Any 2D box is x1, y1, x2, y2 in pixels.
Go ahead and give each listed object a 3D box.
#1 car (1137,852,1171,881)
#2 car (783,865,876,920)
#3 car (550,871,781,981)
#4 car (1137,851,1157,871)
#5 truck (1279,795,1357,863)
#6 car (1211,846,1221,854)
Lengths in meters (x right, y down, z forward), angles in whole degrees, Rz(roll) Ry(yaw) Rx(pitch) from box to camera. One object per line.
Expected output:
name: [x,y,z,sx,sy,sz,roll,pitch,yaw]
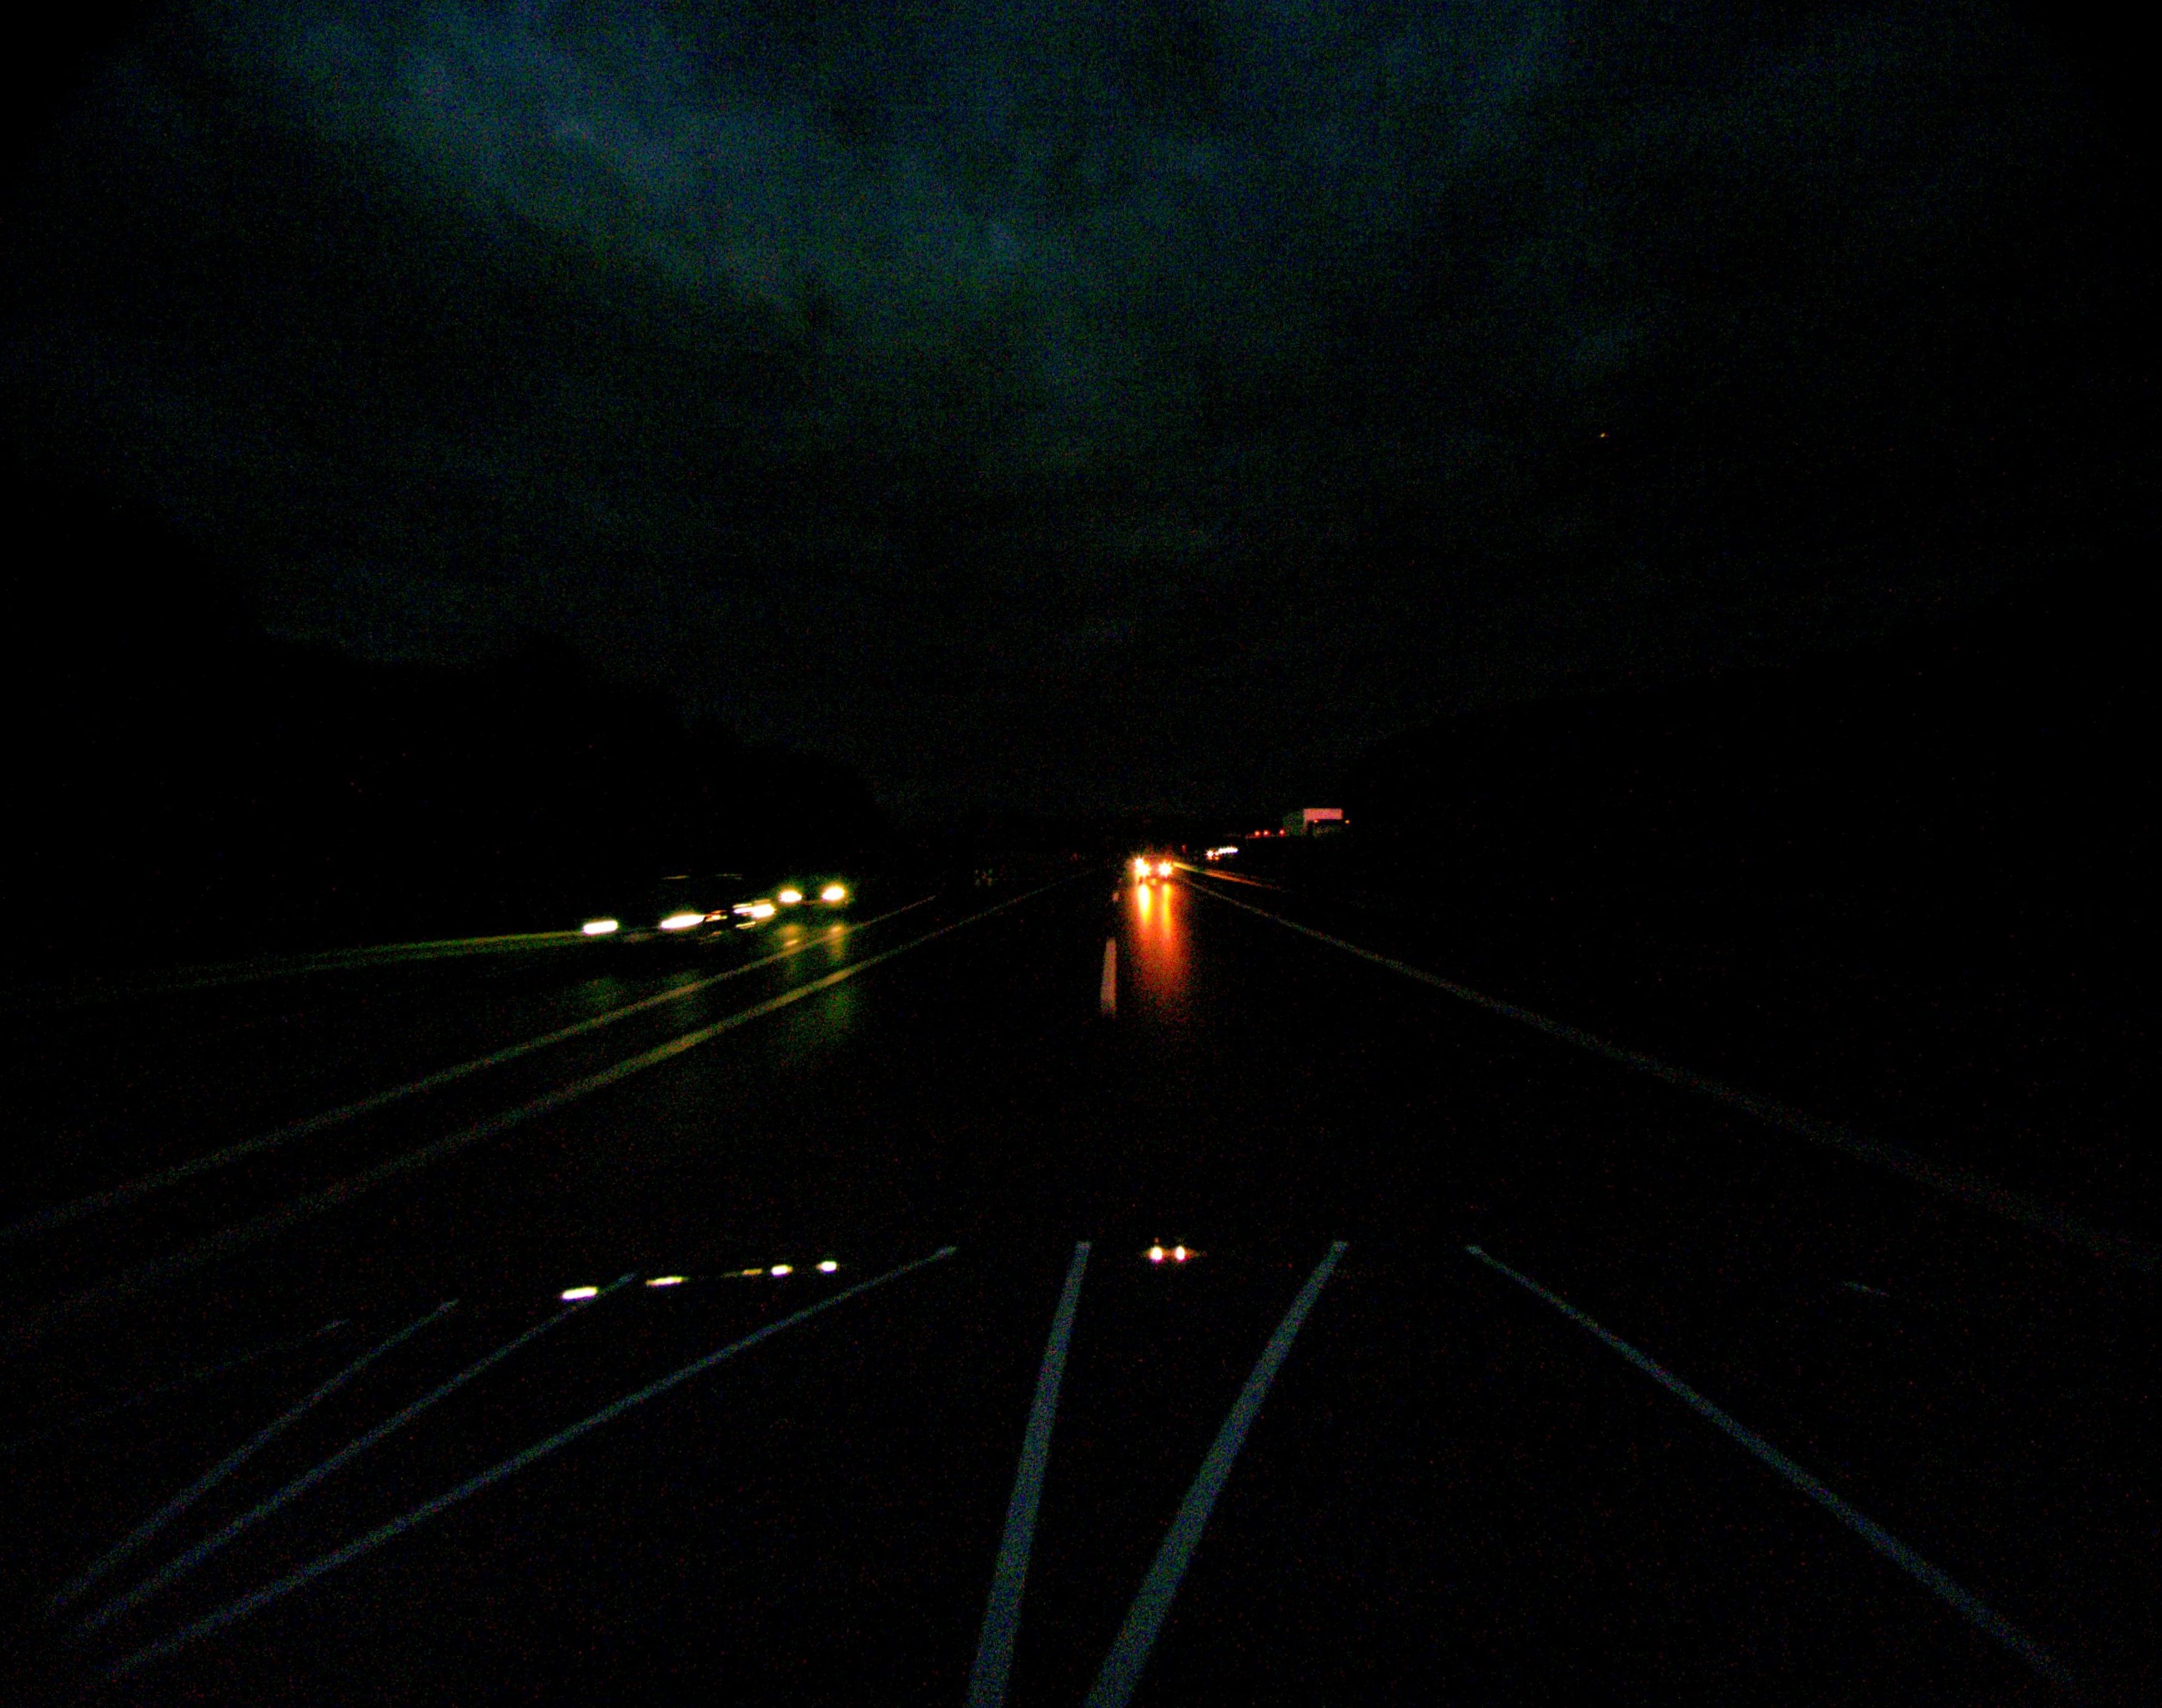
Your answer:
car: [4.291,0.717,44.946,1.669,1.551,3.757,-2,0,1]
car: [-8.439,1.231,25.887,1.803,1.483,4.434,-5,0,-3]
car: [-7.648,1.207,14.714,1.803,1.483,5.115,-5,0,-3]
car: [7.146,0.716,82.696,1.998,2.002,4.001,-2,1,5]
truck: [16.670,-1.678,54.268,3.045,4.276,9.892,-2,1,4]
car: [28.795,-0.795,162.363,1.833,1.674,4.231,-2,0,6]
